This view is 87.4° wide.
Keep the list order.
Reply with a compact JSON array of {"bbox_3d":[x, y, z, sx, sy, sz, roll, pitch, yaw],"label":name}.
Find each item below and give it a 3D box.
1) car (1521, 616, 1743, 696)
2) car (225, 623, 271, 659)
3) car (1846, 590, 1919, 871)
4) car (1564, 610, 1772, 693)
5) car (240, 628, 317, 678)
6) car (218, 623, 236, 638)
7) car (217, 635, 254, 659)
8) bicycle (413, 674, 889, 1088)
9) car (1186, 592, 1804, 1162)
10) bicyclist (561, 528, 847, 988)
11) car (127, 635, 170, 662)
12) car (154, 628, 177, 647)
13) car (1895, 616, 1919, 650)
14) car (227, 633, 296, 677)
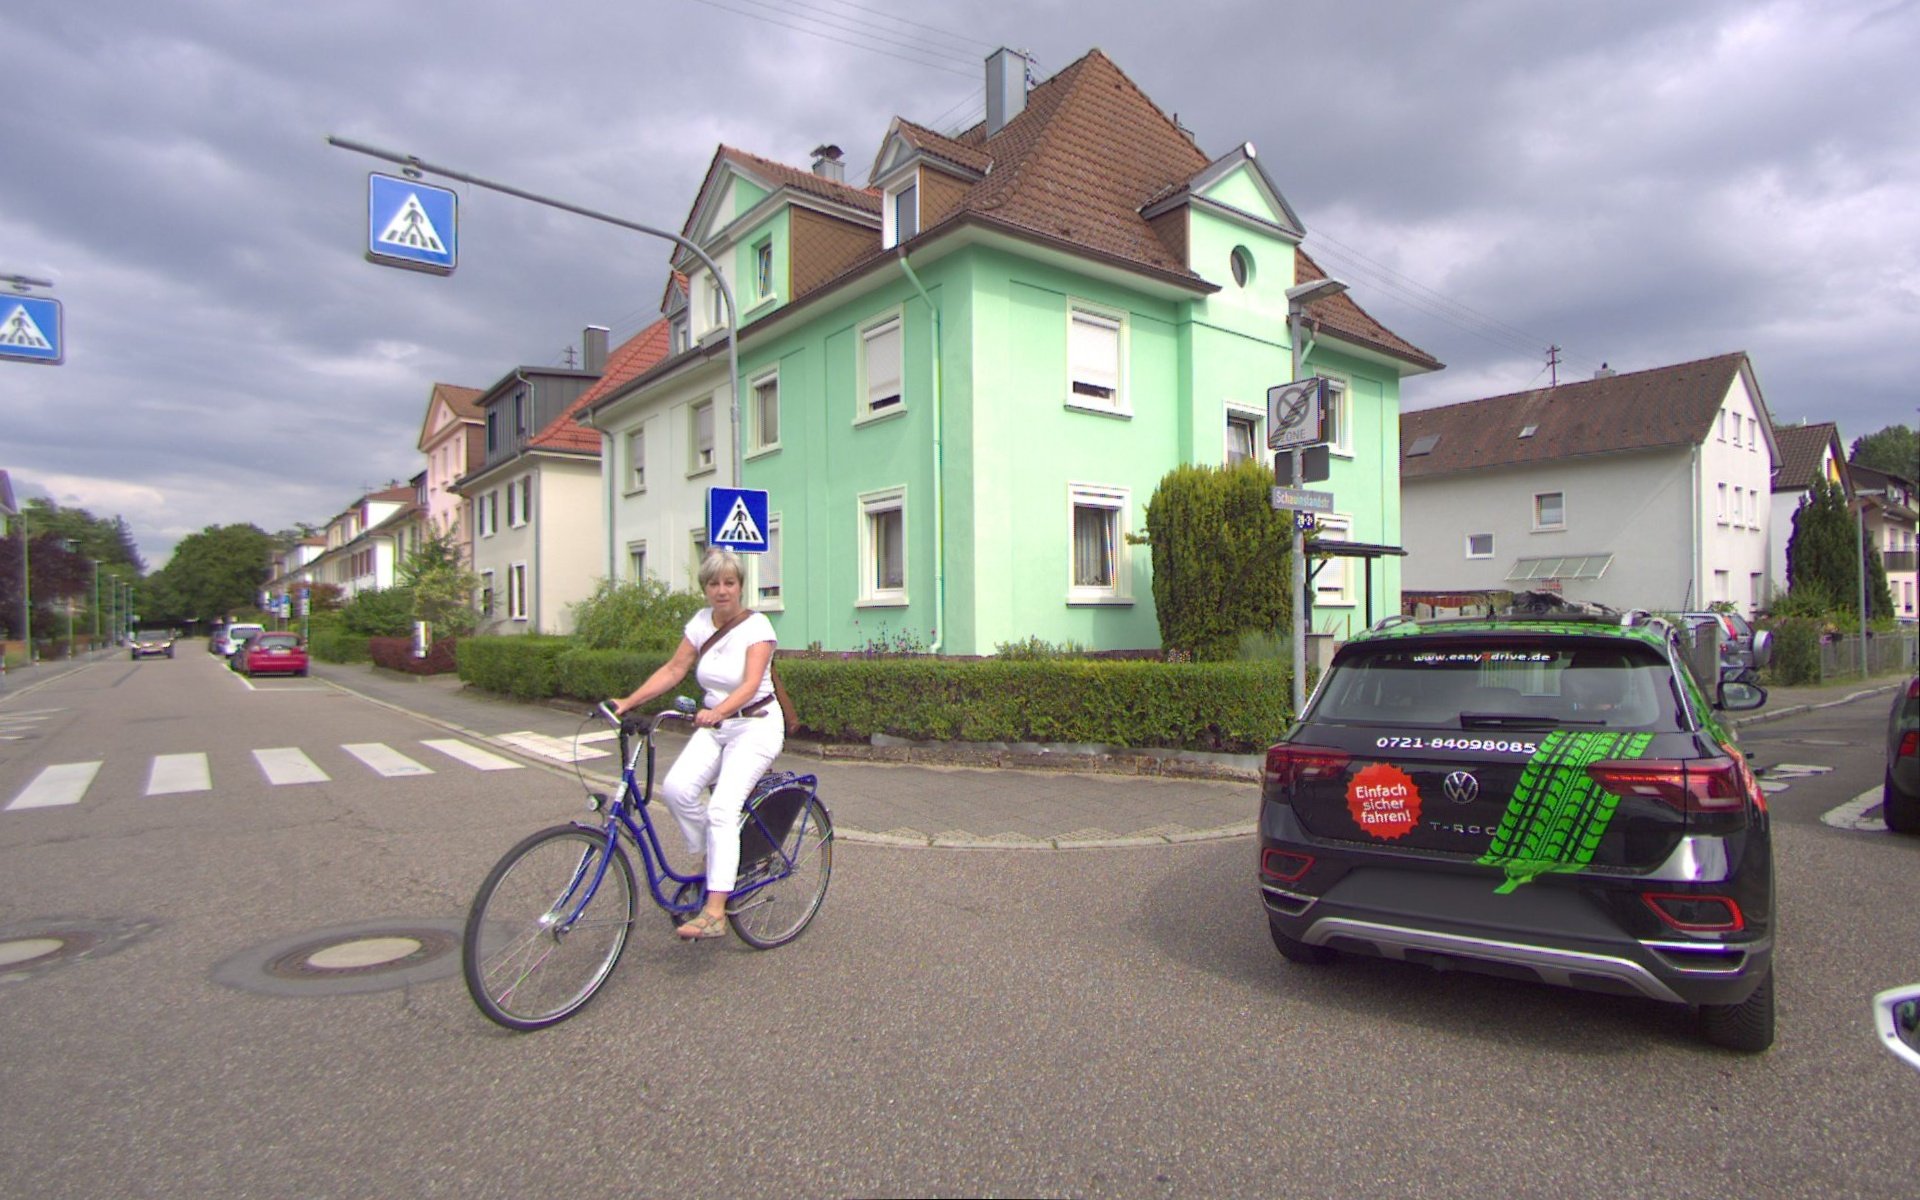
[{"bbox_3d":[13.798,1.114,20.765,1.576,1.520,3.539,1,-2,-42],"label":"car"},{"bbox_3d":[-40.487,2.311,57.090,1.982,1.929,3.957,0,-2,-38],"label":"car"},{"bbox_3d":[8.016,0.810,7.178,4.307,1.749,1.976,0,-2,-41],"label":"car"},{"bbox_3d":[15.763,1.113,22.472,1.576,1.689,3.539,1,-2,-42],"label":"car"},{"bbox_3d":[-23.675,1.787,34.842,1.982,1.595,3.957,0,-2,-38],"label":"car"},{"bbox_3d":[-103.560,4.313,141.918,1.982,2.040,3.957,2,-3,-38],"label":"car"},{"bbox_3d":[-50.178,3.246,69.526,1.982,1.595,3.957,0,-2,-38],"label":"car"},{"bbox_3d":[-1.140,0.962,4.157,0.695,1.167,1.867,0,0,34],"label":"bicycle"},{"bbox_3d":[2.770,0.804,4.890,1.793,1.540,4.028,0,-1,36],"label":"car"},{"bbox_3d":[-1.061,0.581,4.279,0.687,1.689,0.972,0,0,34],"label":"bicyclist"},{"bbox_3d":[-46.889,2.771,58.052,1.821,1.505,3.955,2,-3,-39],"label":"car"},{"bbox_3d":[-82.176,3.891,103.884,1.795,1.904,3.907,0,-1,-38],"label":"car"},{"bbox_3d":[51.195,1.714,51.986,1.856,1.795,3.952,2,-3,-41],"label":"car"},{"bbox_3d":[-27.011,2.076,38.788,1.982,1.595,3.957,0,-2,-38],"label":"car"}]
